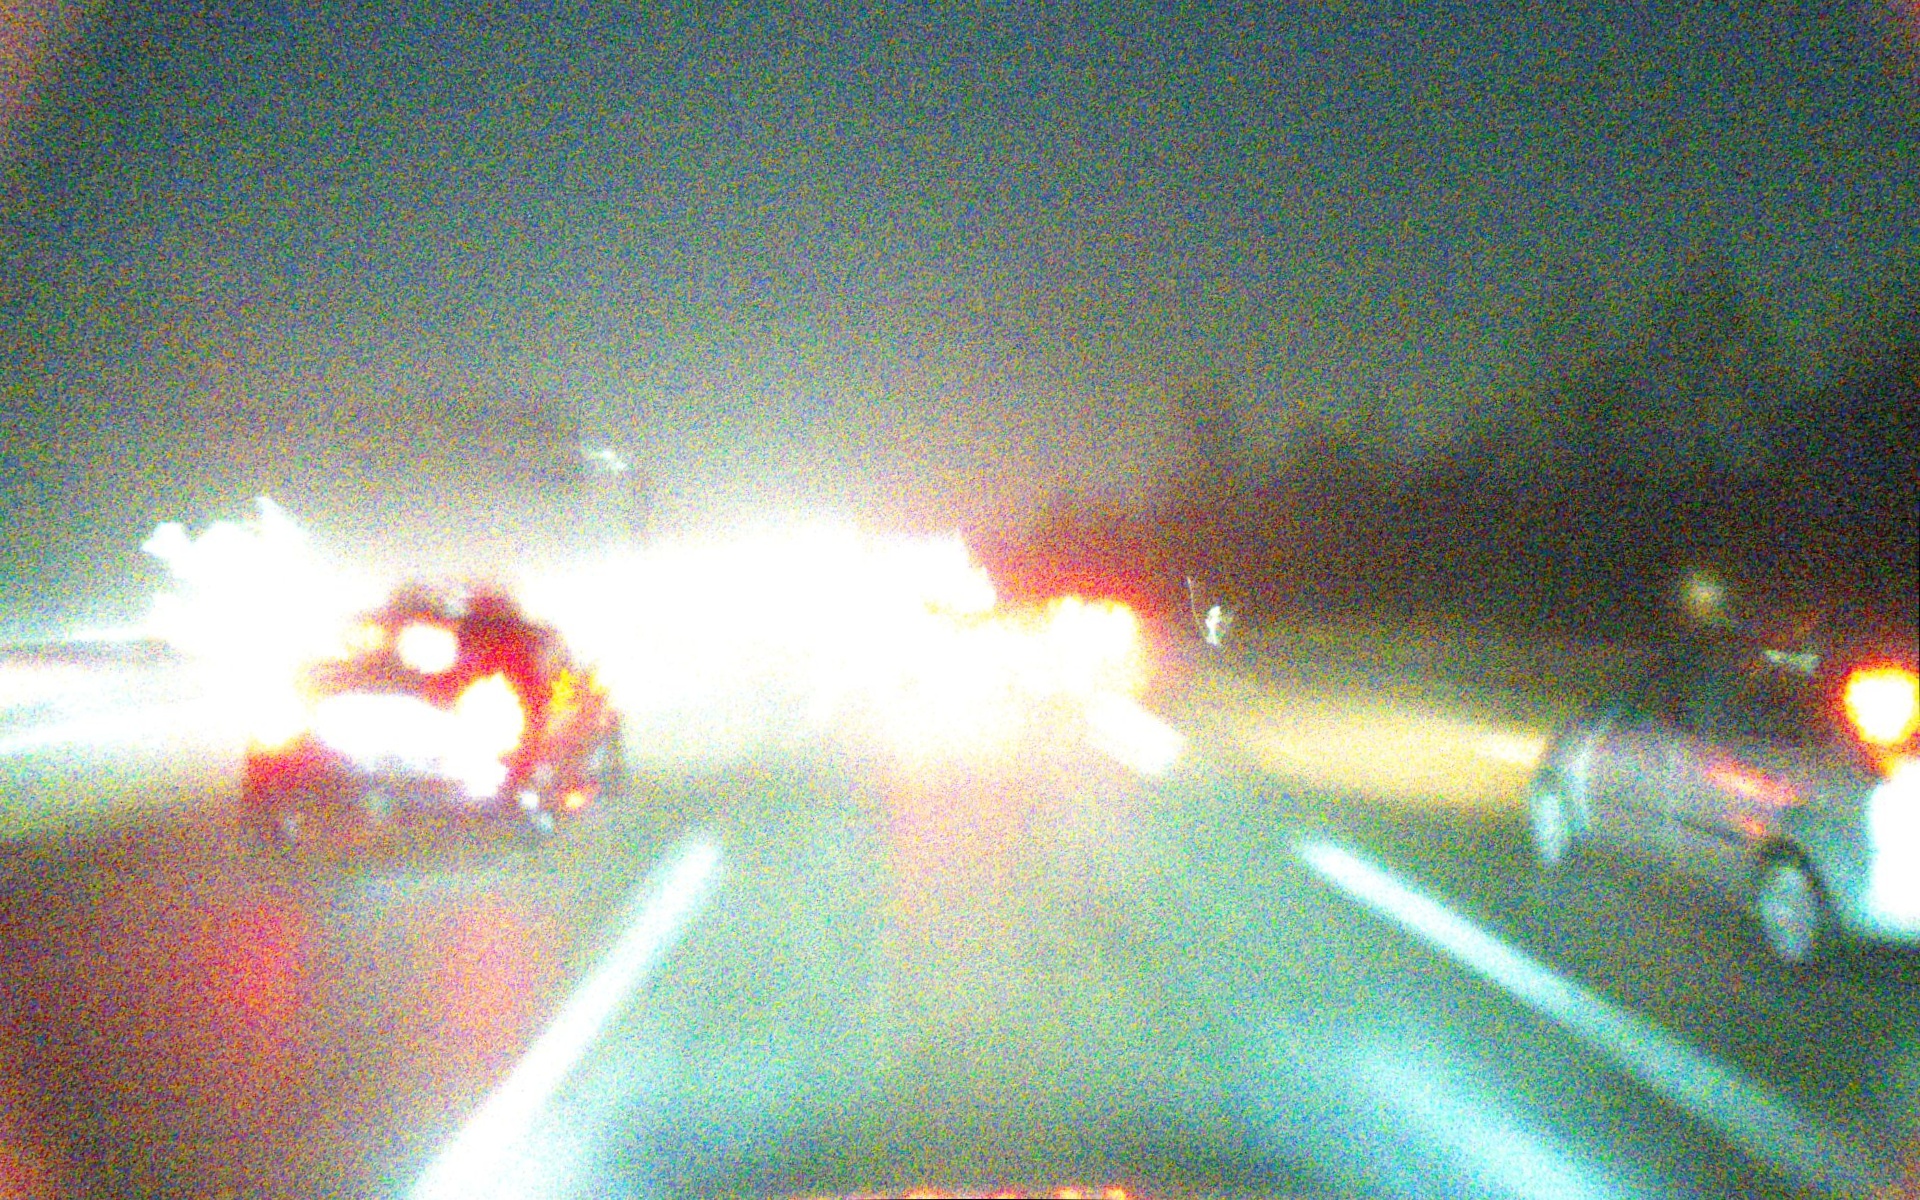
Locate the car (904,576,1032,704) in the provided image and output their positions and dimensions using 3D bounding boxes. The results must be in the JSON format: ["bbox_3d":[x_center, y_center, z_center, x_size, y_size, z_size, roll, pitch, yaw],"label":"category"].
[{"bbox_3d":[0.075,0.519,24.293,1.730,1.719,3.999,0,0,-1],"label":"car"}]

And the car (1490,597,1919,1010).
[{"bbox_3d":[4.194,0.732,8.097,1.734,1.483,4.193,0,0,-2],"label":"car"}]

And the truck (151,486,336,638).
[{"bbox_3d":[-24.903,-1.239,57.911,3.712,4.995,6.475,1,-1,-2],"label":"truck"}]

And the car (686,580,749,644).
[{"bbox_3d":[-9.134,0.452,62.377,2.221,2.313,5.375,1,0,-8],"label":"car"}]

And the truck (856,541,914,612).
[{"bbox_3d":[-6.060,-1.845,135.609,4.167,5.539,10.883,1,0,0],"label":"truck"}]

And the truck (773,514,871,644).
[{"bbox_3d":[-5.655,-0.767,66.851,3.585,4.820,9.840,1,0,-6],"label":"truck"}]

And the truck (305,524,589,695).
[{"bbox_3d":[-7.457,0.153,24.896,2.801,2.239,5.853,1,0,-4],"label":"truck"}]

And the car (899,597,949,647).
[{"bbox_3d":[-1.374,0.802,61.836,1.730,1.793,3.997,1,0,-3],"label":"car"}]

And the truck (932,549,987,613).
[{"bbox_3d":[-0.132,-1.559,144.169,4.080,5.306,9.944,1,0,-4],"label":"truck"}]

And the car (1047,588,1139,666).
[{"bbox_3d":[3.200,0.643,40.469,1.840,1.793,3.999,1,0,-1],"label":"car"}]

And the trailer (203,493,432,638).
[{"bbox_3d":[-25.242,-1.188,66.270,3.712,5.116,14.795,1,0,-2],"label":"trailer"}]

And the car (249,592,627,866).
[{"bbox_3d":[-3.254,0.685,11.112,1.625,1.456,4.240,0,0,-7],"label":"car"}]
